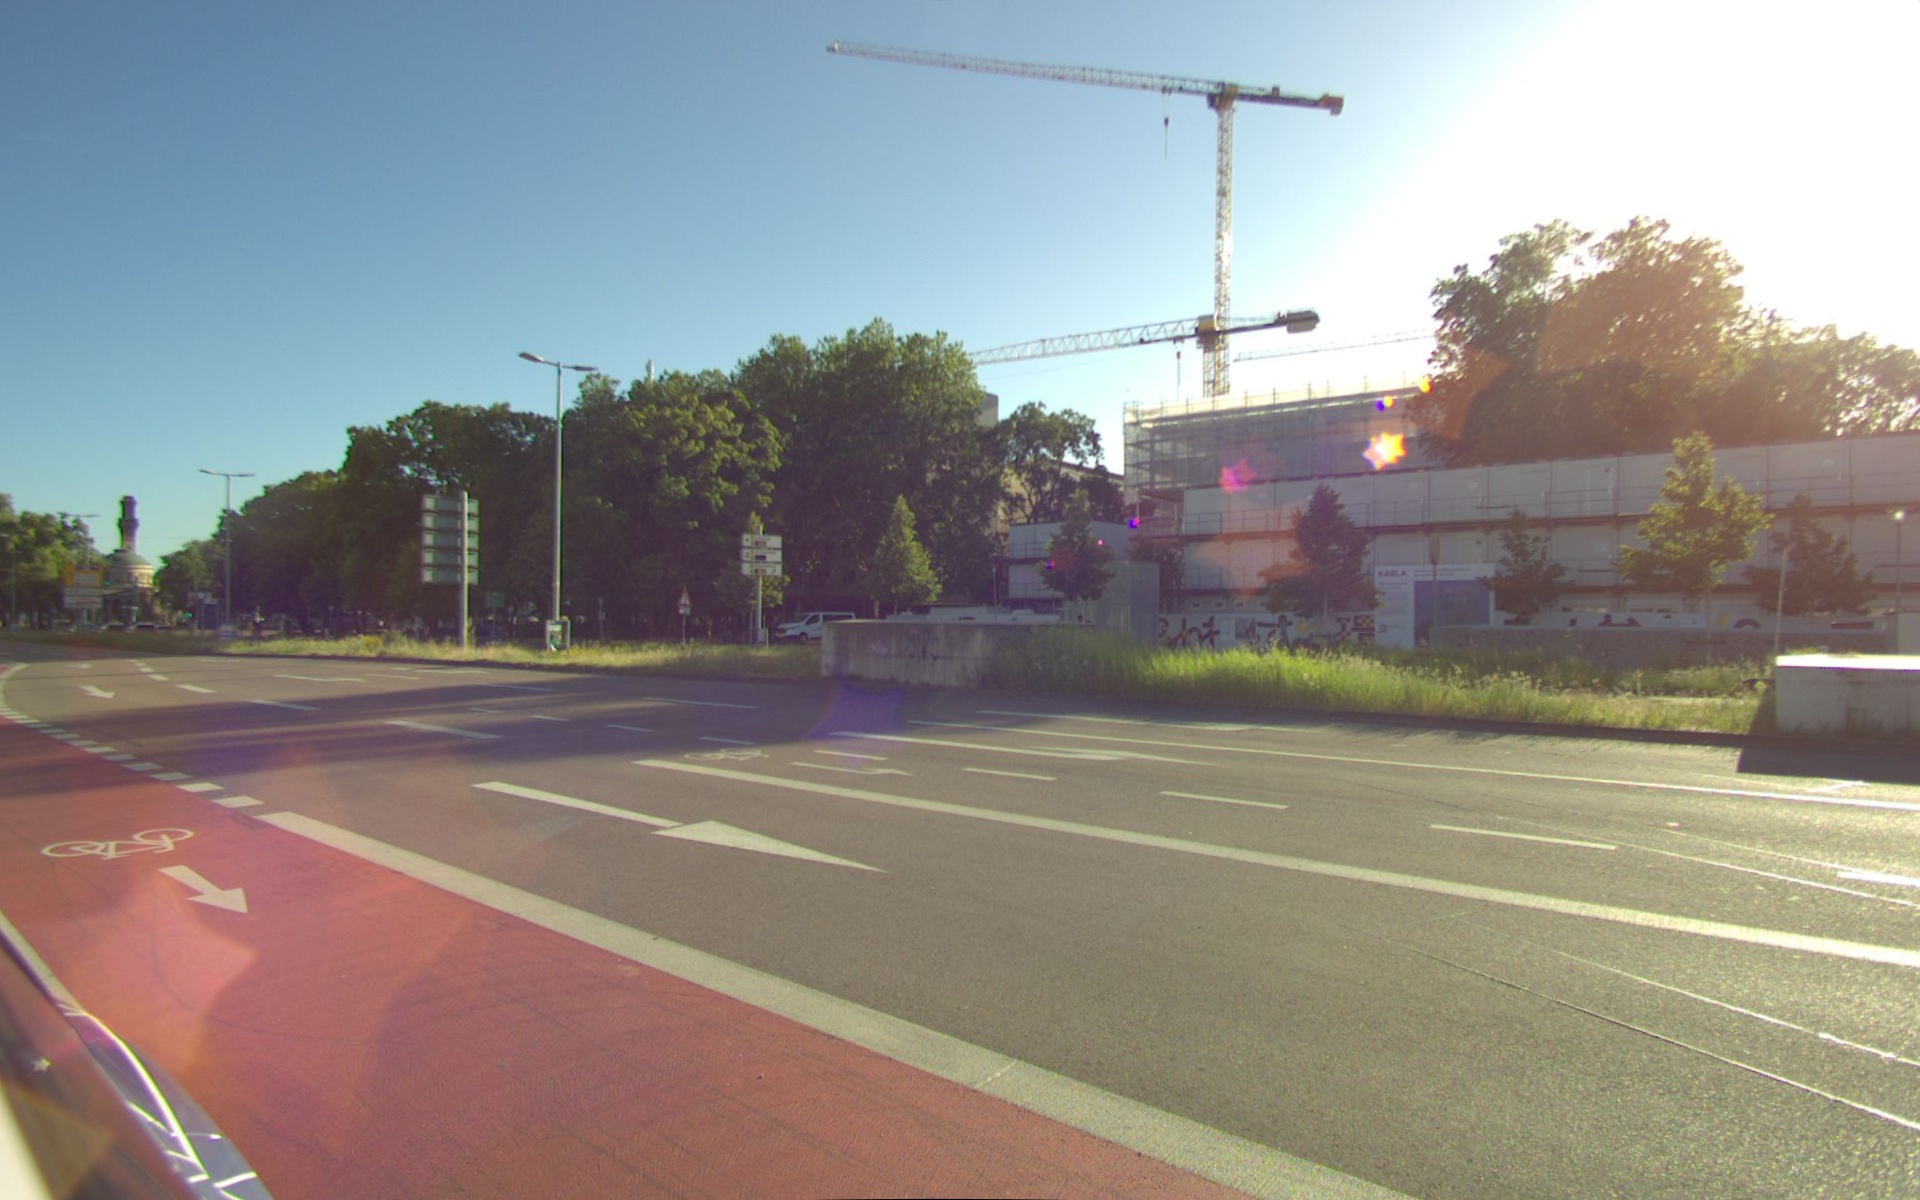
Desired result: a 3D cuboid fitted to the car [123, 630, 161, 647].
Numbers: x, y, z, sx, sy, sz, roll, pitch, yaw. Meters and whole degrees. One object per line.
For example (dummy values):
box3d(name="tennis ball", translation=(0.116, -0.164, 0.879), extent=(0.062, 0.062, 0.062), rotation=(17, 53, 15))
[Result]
box3d(name="car", translation=(-71.041, 3.310, 87.863), extent=(3.996, 1.409, 1.849), rotation=(-1, -2, 40))

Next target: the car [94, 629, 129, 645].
box3d(name="car", translation=(-79.058, 3.412, 94.257), extent=(3.997, 1.409, 1.849), rotation=(-1, -2, 40))

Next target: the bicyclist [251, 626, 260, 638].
box3d(name="bicyclist", translation=(-75.443, 3.427, 108.390), extent=(0.600, 1.291, 0.717), rotation=(0, -2, -15))

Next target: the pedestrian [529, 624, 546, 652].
box3d(name="pedestrian", translation=(-26.716, 2.394, 63.989), extent=(0.762, 1.738, 0.698), rotation=(-1, -2, 41))

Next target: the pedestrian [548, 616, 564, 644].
box3d(name="pedestrian", translation=(-25.981, 1.922, 65.058), extent=(0.762, 1.738, 0.698), rotation=(-1, -2, 41))

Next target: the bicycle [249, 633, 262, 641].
box3d(name="bicycle", translation=(-75.445, 3.930, 108.375), extent=(0.600, 0.849, 1.751), rotation=(0, -2, -15))

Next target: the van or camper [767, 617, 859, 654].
box3d(name="van or camper", translation=(-8.929, 2.110, 61.951), extent=(1.948, 2.029, 5.576), rotation=(-1, 0, 42))

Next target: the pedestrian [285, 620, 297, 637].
box3d(name="pedestrian", translation=(-76.214, 3.239, 115.342), extent=(0.621, 1.862, 0.922), rotation=(0, -2, 10))

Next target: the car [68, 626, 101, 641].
box3d(name="car", translation=(-88.706, 3.386, 102.499), extent=(3.995, 1.409, 1.849), rotation=(-1, -2, 39))

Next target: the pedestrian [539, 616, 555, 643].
box3d(name="pedestrian", translation=(-26.325, 1.876, 64.547), extent=(0.762, 1.738, 0.656), rotation=(-1, -2, 41))

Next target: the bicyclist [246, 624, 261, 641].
box3d(name="bicyclist", translation=(-53.567, 2.452, 76.736), extent=(0.884, 1.292, 0.631), rotation=(-1, -2, 36))

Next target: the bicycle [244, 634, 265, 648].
box3d(name="bicycle", translation=(-53.439, 3.102, 76.628), extent=(2.239, 1.030, 0.631), rotation=(-1, -2, 36))

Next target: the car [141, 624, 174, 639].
box3d(name="car", translation=(-81.152, 3.146, 102.320), extent=(4.000, 1.519, 1.972), rotation=(-1, -2, 43))
